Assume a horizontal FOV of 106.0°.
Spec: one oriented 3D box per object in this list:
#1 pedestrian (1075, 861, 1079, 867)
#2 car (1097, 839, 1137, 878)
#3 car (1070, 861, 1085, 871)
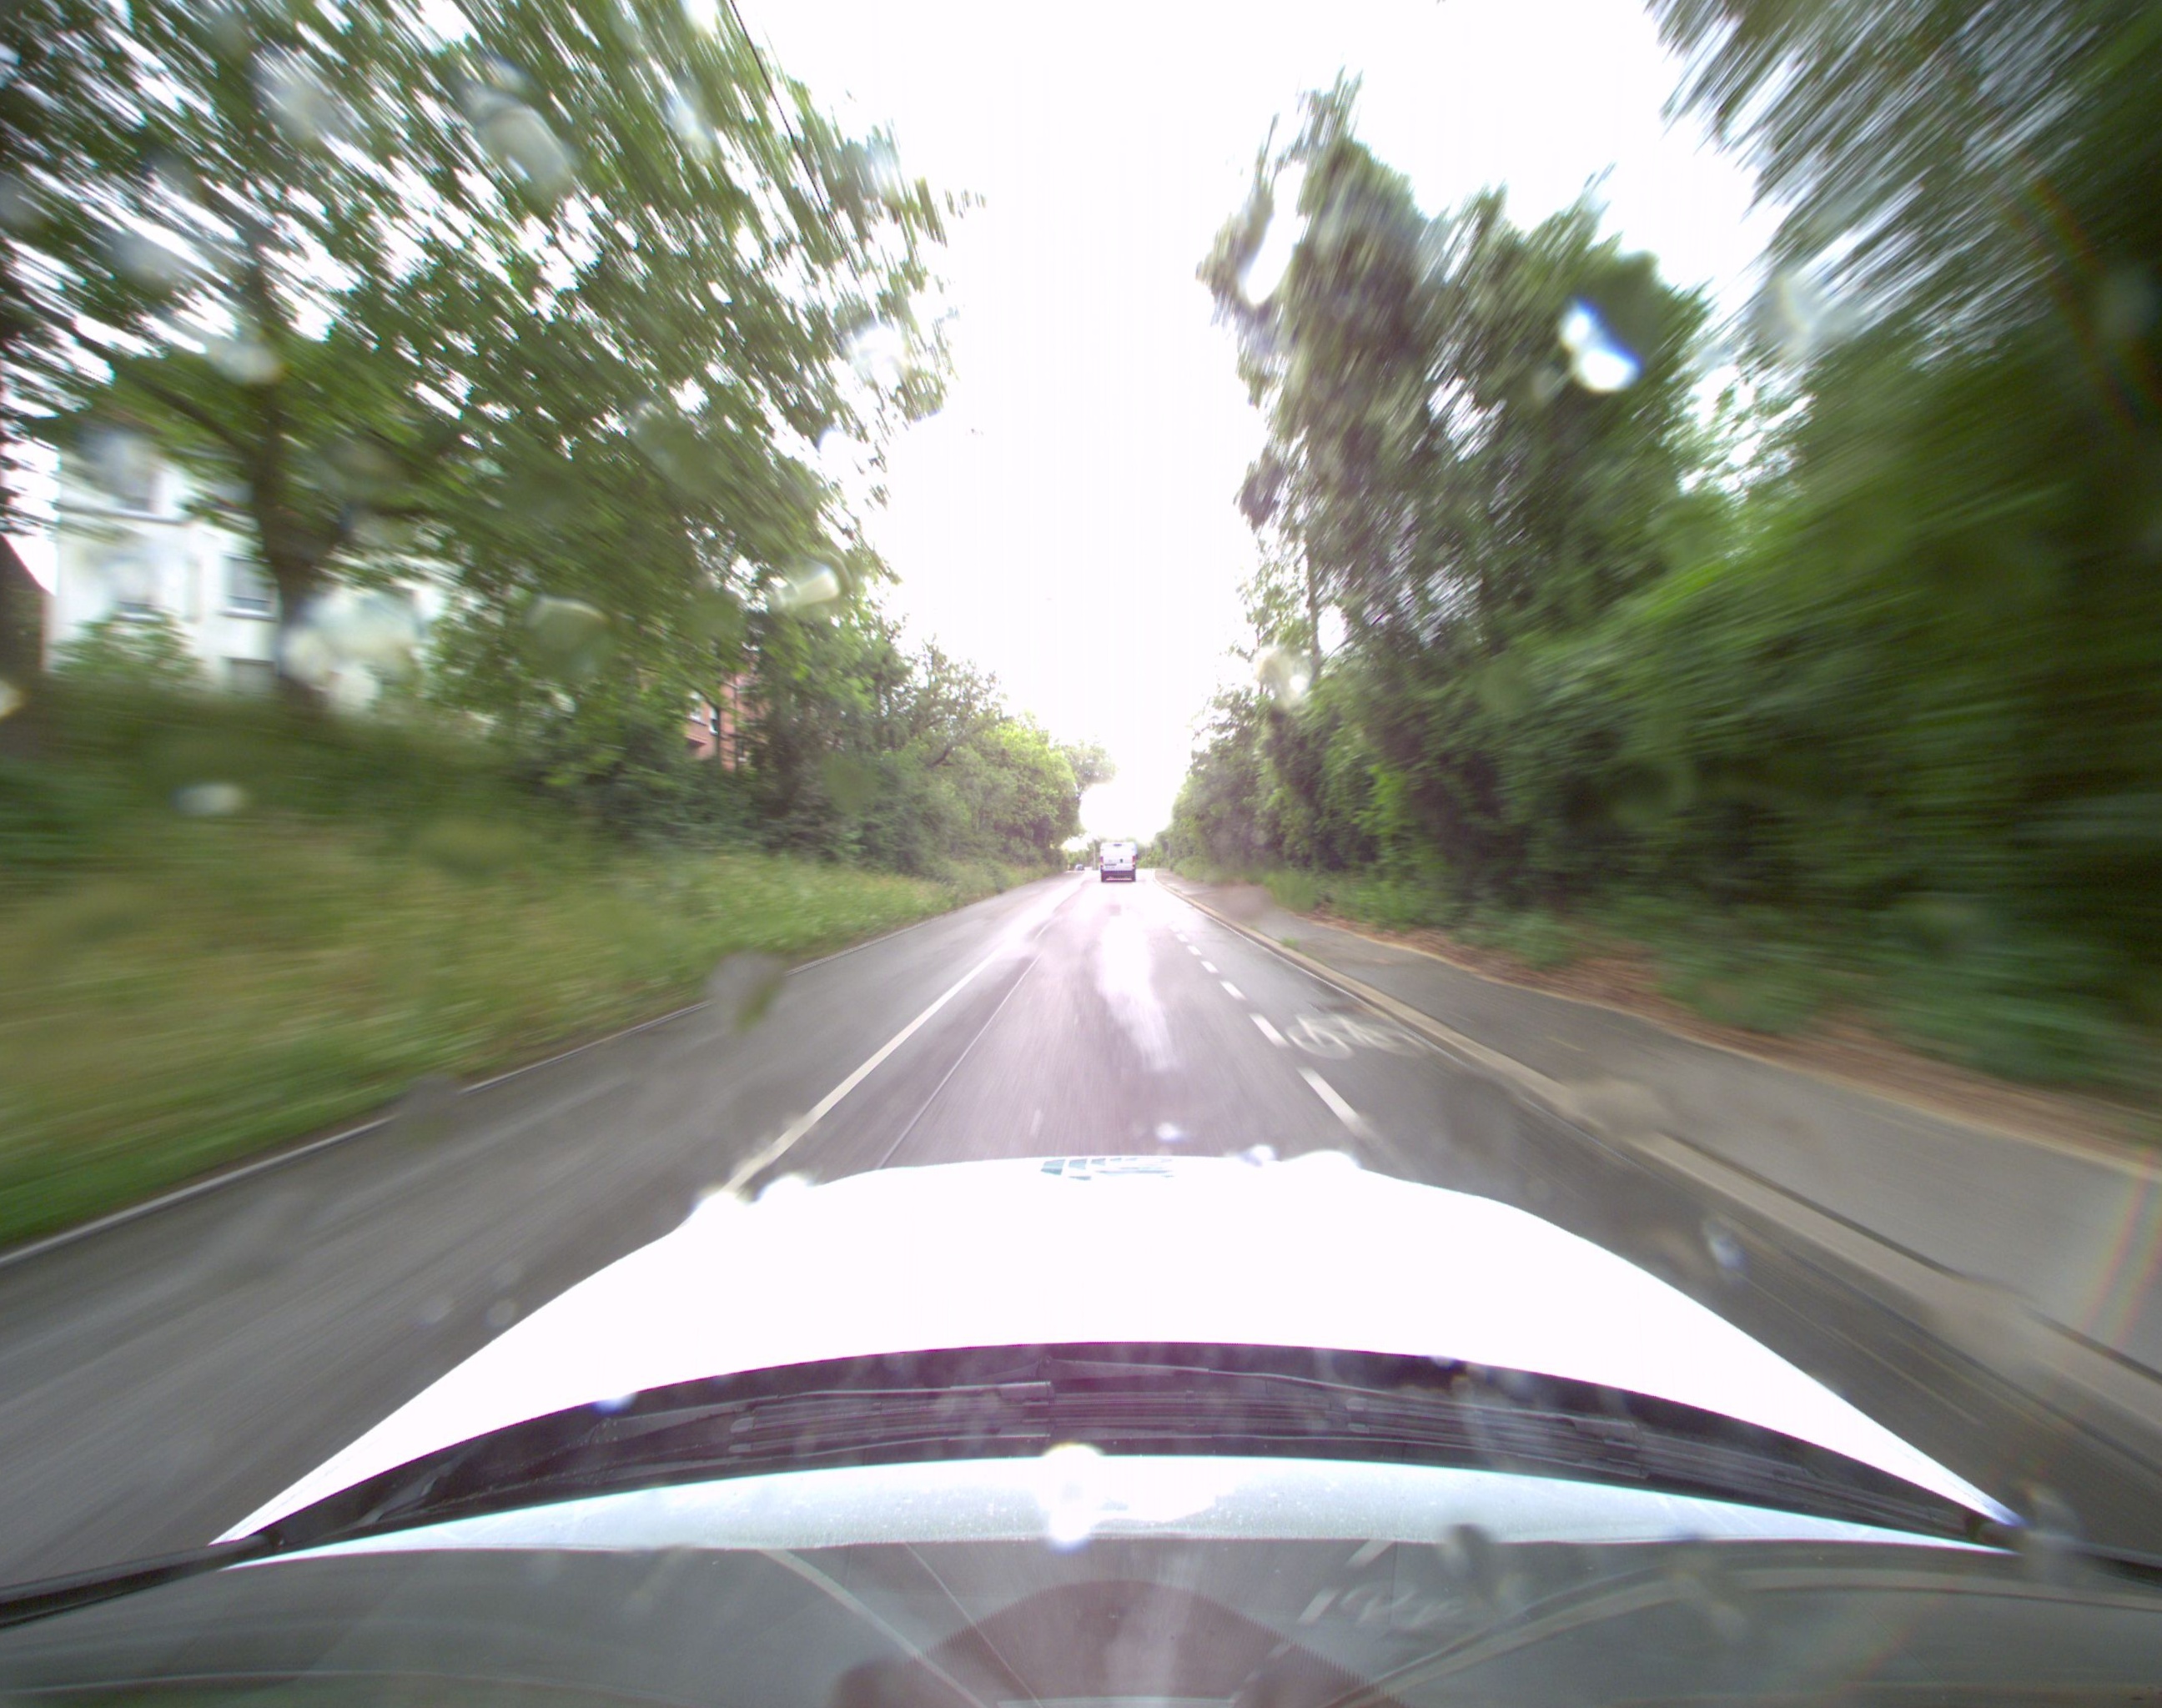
[{"bbox_3d":[-0.928,2.291,192.502,0.878,1.367,1.062,0,0,-9],"label":"pedestrian"},{"bbox_3d":[2.129,0.265,48.523,2.229,2.213,4.715,0,0,2],"label":"car"},{"bbox_3d":[-0.653,2.277,155.549,2.111,1.711,4.695,0,0,-11],"label":"car"}]
